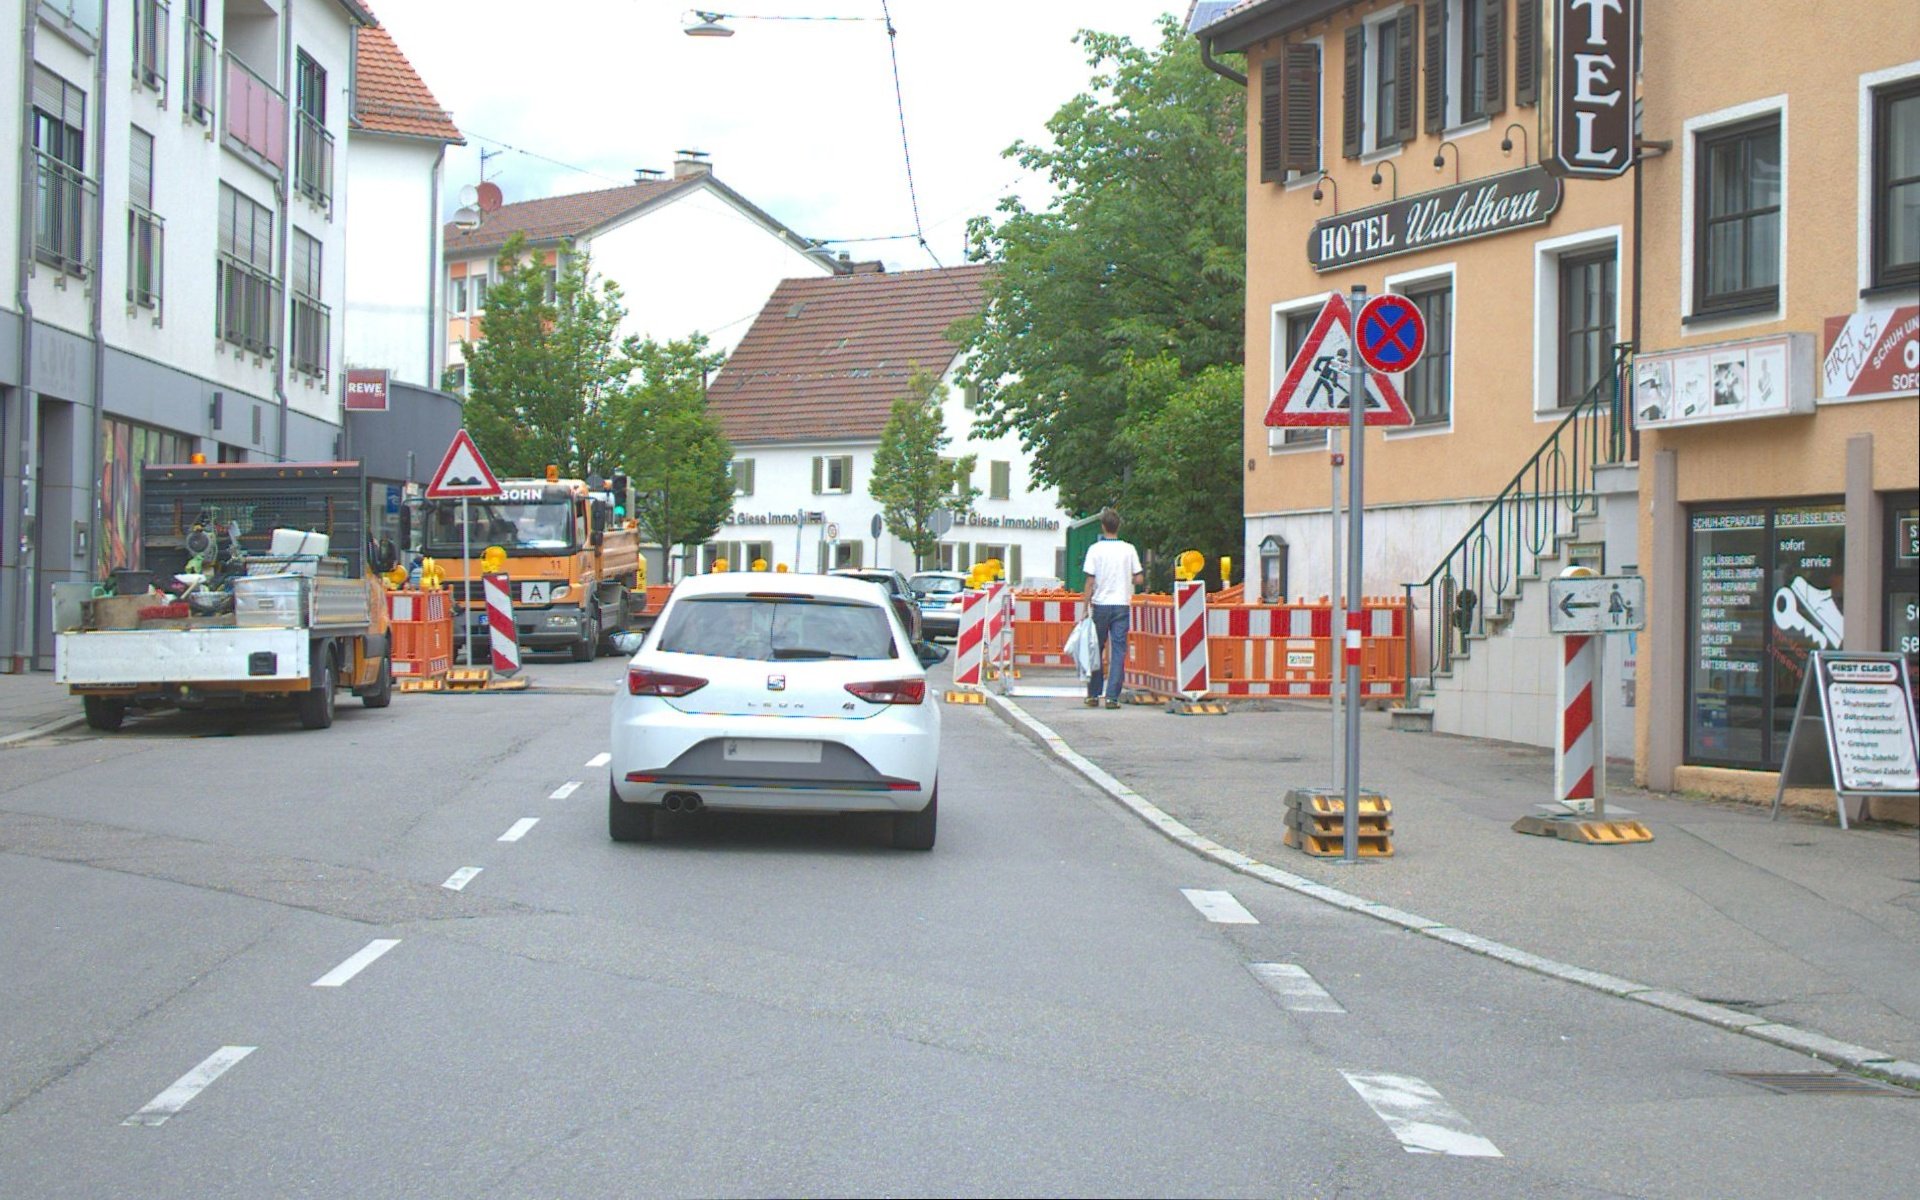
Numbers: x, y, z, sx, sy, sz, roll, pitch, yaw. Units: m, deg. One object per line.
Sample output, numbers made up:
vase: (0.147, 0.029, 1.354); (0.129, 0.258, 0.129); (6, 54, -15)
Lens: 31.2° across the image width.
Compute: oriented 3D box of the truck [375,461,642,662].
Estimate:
truck: (-6.472, -0.576, 50.275); (2.731, 2.715, 6.847); (1, 1, 2)

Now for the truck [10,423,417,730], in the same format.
truck: (-6.481, -0.247, 30.722); (2.413, 2.457, 6.308); (0, 1, -2)

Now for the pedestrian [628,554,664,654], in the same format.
pedestrian: (-5.492, 0.070, 60.072); (0.537, 1.738, 0.443); (1, 0, 6)

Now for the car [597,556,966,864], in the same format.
car: (-0.942, 0.533, 19.289); (1.811, 1.475, 3.871); (2, 1, -1)

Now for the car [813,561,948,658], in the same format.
car: (-1.251, 0.125, 55.685); (1.812, 1.475, 3.870); (0, 1, 4)

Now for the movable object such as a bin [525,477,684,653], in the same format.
movable object such as a bin: (-5.786, -0.523, 56.451); (1.839, 2.754, 4.505); (1, -1, 4)

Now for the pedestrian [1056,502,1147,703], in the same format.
pedestrian: (1.380, 0.018, 33.668); (0.798, 1.943, 0.836); (0, 1, -3)

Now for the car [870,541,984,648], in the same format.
car: (-0.612, -0.109, 67.078); (1.994, 2.007, 4.000); (1, 0, 2)
